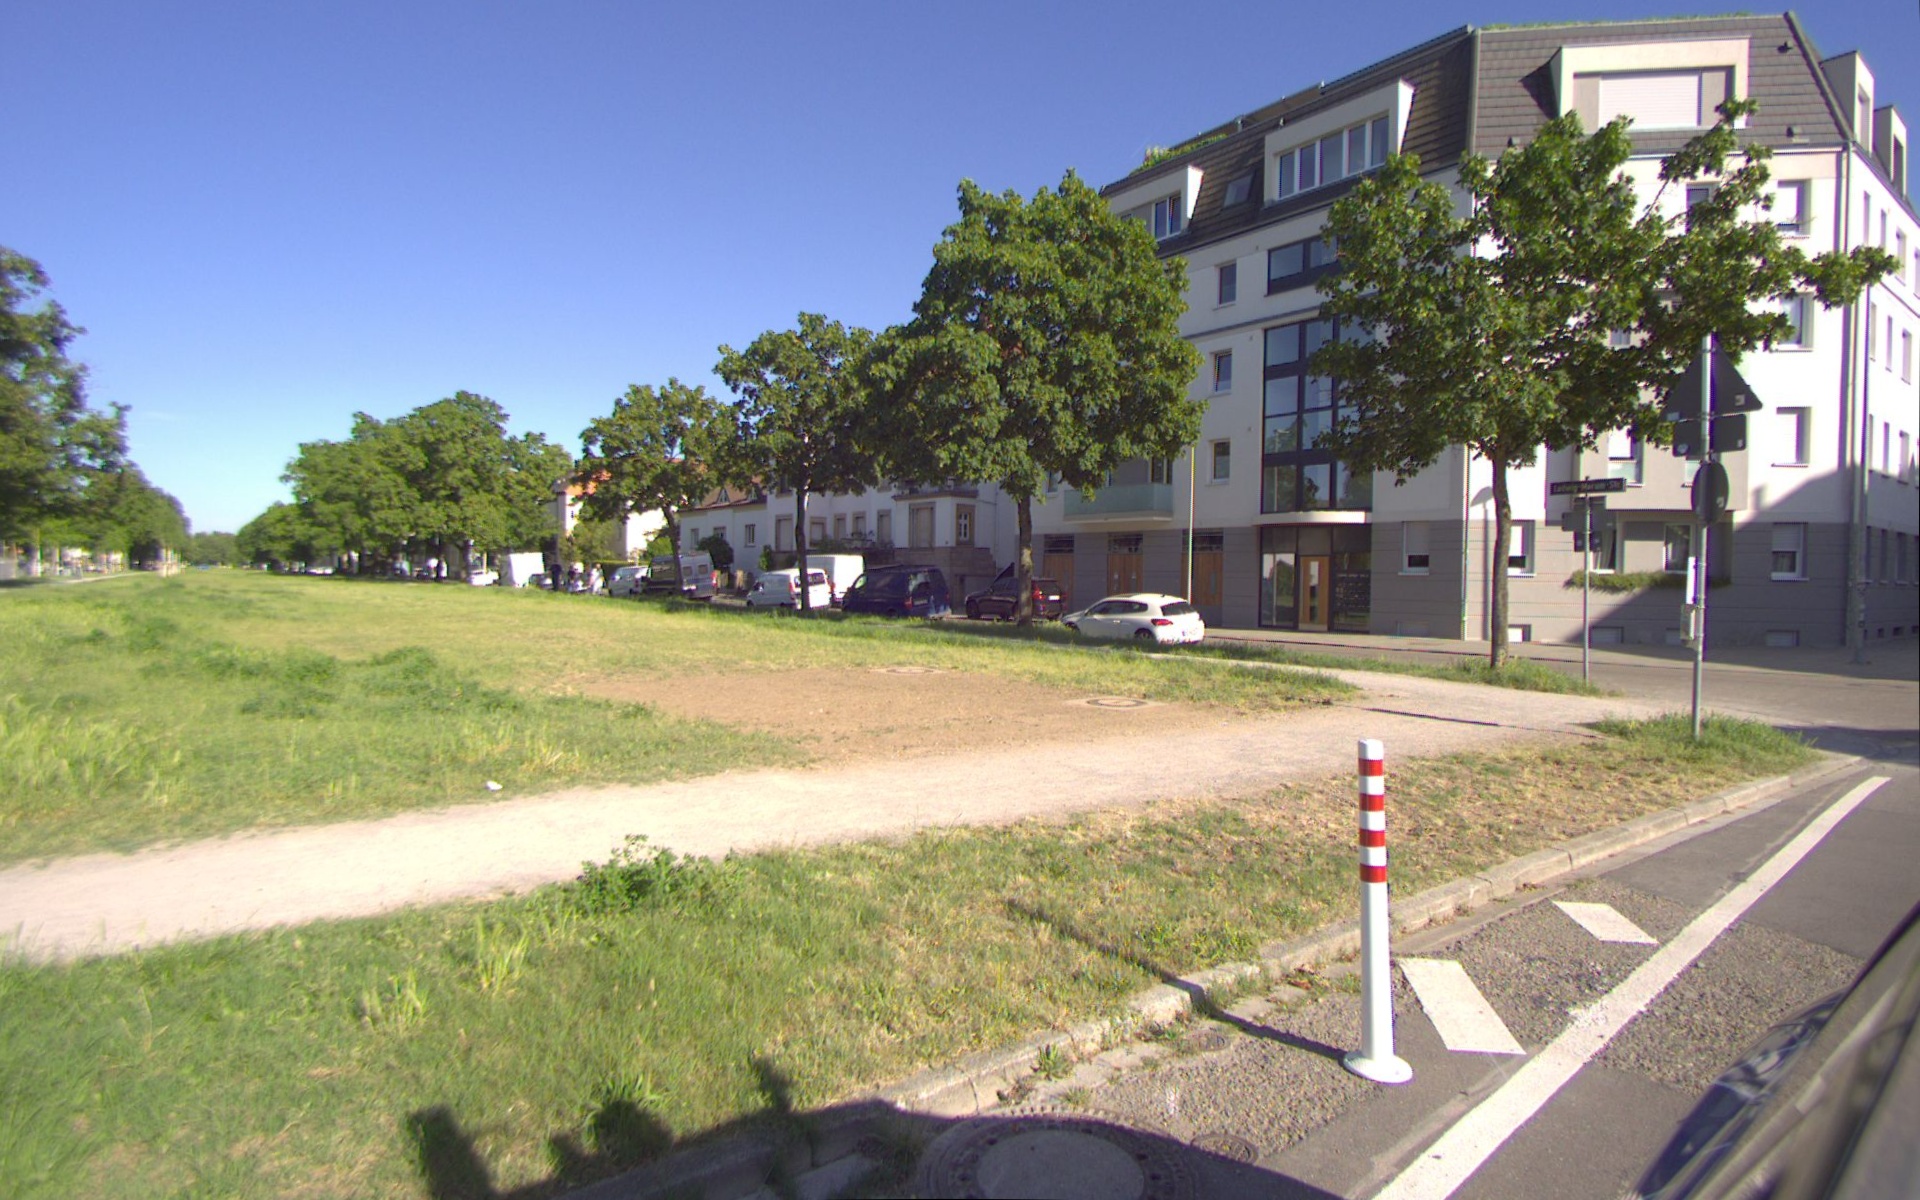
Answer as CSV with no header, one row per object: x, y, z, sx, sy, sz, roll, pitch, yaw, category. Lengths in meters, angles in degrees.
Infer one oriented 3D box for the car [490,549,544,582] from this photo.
-33.185,-2.616,75.762,2.503,2.363,5.920,0,2,-36,car

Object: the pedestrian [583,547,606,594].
-15.155,-1.222,41.917,0.711,1.900,0.629,0,1,-38,pedestrian

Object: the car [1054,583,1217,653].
4.386,0.399,25.819,1.709,1.450,3.993,-5,5,-37,car

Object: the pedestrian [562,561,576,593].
-18.921,-1.104,48.980,0.487,1.524,0.535,0,1,-37,pedestrian

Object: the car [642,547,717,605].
-13.943,-1.244,50.162,2.153,2.615,4.288,-5,5,-36,car

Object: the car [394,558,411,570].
-87.440,-5.628,158.743,1.831,1.868,3.994,0,2,-36,car

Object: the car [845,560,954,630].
-2.099,-0.232,34.162,1.752,2.108,3.994,-5,5,-36,car

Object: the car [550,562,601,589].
-24.639,-1.593,64.788,2.047,1.618,4.288,0,2,-36,car

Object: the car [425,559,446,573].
-70.621,-4.617,136.239,1.831,1.868,3.994,0,2,-36,car

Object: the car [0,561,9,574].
-100.997,-3.447,105.899,1.690,1.358,3.808,0,2,-37,car

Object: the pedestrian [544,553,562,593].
-19.684,-1.318,48.903,0.632,1.900,0.629,0,1,-38,pedestrian

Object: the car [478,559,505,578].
-50.032,-3.373,108.071,1.831,1.868,3.994,0,2,-36,car

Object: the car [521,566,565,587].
-29.157,-1.675,70.719,1.898,1.361,4.110,0,2,-36,car

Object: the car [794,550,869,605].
-6.341,-1.145,49.743,1.985,2.580,3.994,-2,3,-36,car

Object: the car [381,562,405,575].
-69.783,-3.877,124.455,2.042,1.484,4.728,0,2,-36,car

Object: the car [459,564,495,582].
-42.185,-2.373,88.310,2.042,1.484,4.728,0,2,-36,car

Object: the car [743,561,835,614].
-6.956,-0.548,40.823,1.842,1.906,4.424,-5,5,-36,car

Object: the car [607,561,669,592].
-17.794,-1.329,55.796,2.047,1.618,4.288,0,2,-36,car

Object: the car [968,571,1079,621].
2.329,-0.207,38.157,1.861,1.703,4.289,-2,3,-36,car
